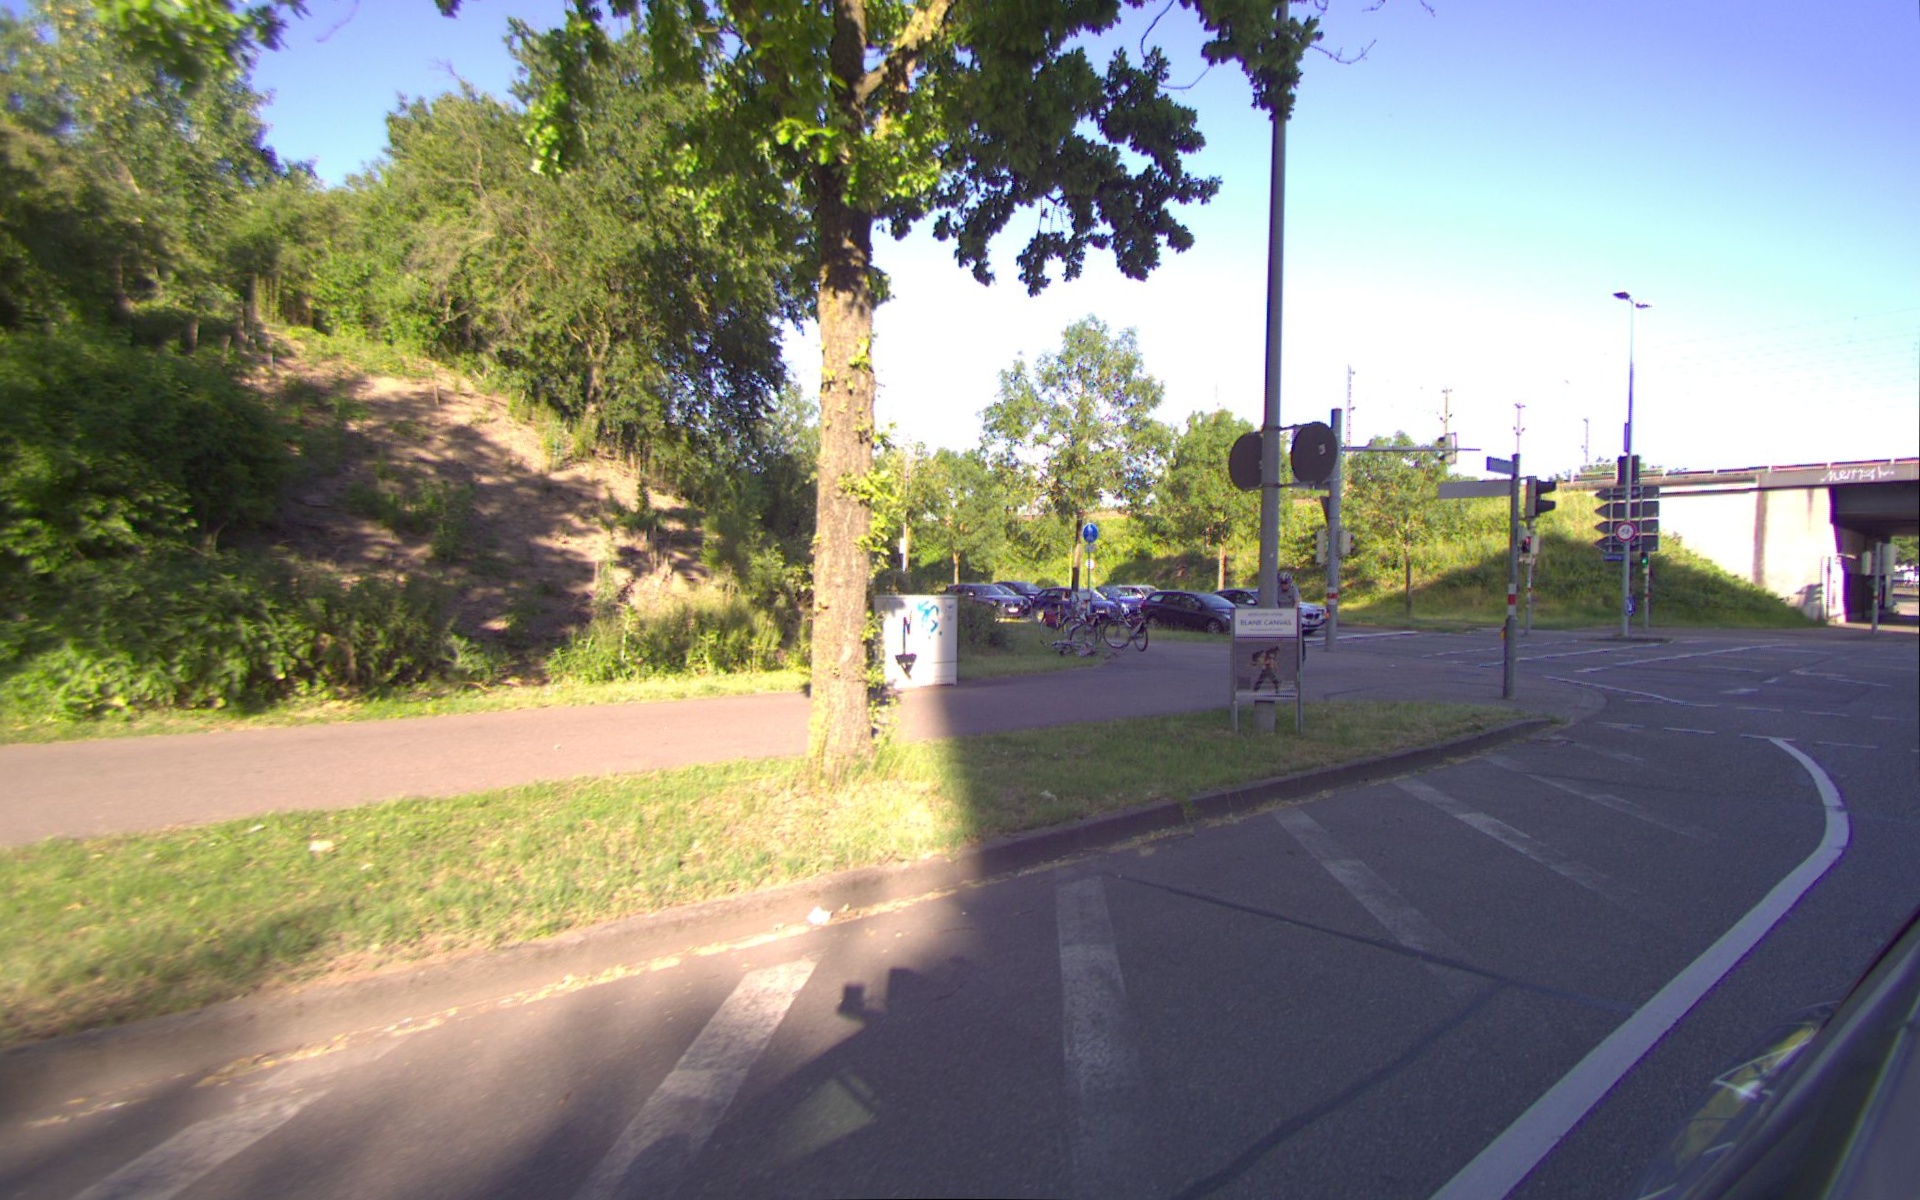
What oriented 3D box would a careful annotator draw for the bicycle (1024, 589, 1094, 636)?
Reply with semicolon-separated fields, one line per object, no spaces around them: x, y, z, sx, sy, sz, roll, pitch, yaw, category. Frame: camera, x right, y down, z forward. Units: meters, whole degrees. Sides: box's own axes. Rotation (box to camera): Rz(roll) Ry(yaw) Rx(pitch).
2.547;0.304;26.232;0.685;1.119;2.267;3;0;-25;bicycle

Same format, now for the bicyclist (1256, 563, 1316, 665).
5.341;0.211;16.589;0.850;1.630;0.566;0;1;-41;bicyclist

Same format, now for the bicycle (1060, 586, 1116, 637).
3.014;0.255;24.027;0.445;1.160;1.661;0;1;-27;bicycle

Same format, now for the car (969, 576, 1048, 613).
2.166;-0.287;46.474;1.591;1.548;3.855;-2;3;-35;car

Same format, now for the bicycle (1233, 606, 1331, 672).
5.285;0.611;16.556;2.011;1.004;0.572;0;1;-42;bicycle

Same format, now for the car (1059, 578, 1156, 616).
5.857;-0.163;40.498;1.468;1.376;3.998;-2;2;-37;car

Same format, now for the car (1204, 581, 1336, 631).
10.332;0.137;34.002;1.782;1.493;4.000;-2;2;-35;car

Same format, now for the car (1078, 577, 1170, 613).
7.106;-0.251;44.138;1.561;1.450;3.998;-2;2;-37;car

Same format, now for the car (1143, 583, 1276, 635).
8.056;0.241;32.956;1.772;1.493;3.999;-2;2;-36;car

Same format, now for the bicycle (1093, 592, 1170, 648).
3.567;0.393;21.241;0.445;1.066;1.999;0;1;-28;bicycle

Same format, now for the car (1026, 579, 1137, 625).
4.497;0.015;37.811;1.812;1.548;3.912;-3;3;-42;car

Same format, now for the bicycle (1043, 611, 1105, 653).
2.163;0.577;18.915;0.830;0.629;2.186;3;1;15;bicycle

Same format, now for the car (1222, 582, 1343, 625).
11.869;0.081;37.449;1.783;1.450;3.999;-2;2;-36;car

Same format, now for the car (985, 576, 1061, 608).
3.012;-0.408;49.290;1.561;1.450;3.876;-2;2;-37;car

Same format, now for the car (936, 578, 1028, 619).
0.879;-0.125;42.535;1.740;1.548;4.141;-3;3;-35;car
